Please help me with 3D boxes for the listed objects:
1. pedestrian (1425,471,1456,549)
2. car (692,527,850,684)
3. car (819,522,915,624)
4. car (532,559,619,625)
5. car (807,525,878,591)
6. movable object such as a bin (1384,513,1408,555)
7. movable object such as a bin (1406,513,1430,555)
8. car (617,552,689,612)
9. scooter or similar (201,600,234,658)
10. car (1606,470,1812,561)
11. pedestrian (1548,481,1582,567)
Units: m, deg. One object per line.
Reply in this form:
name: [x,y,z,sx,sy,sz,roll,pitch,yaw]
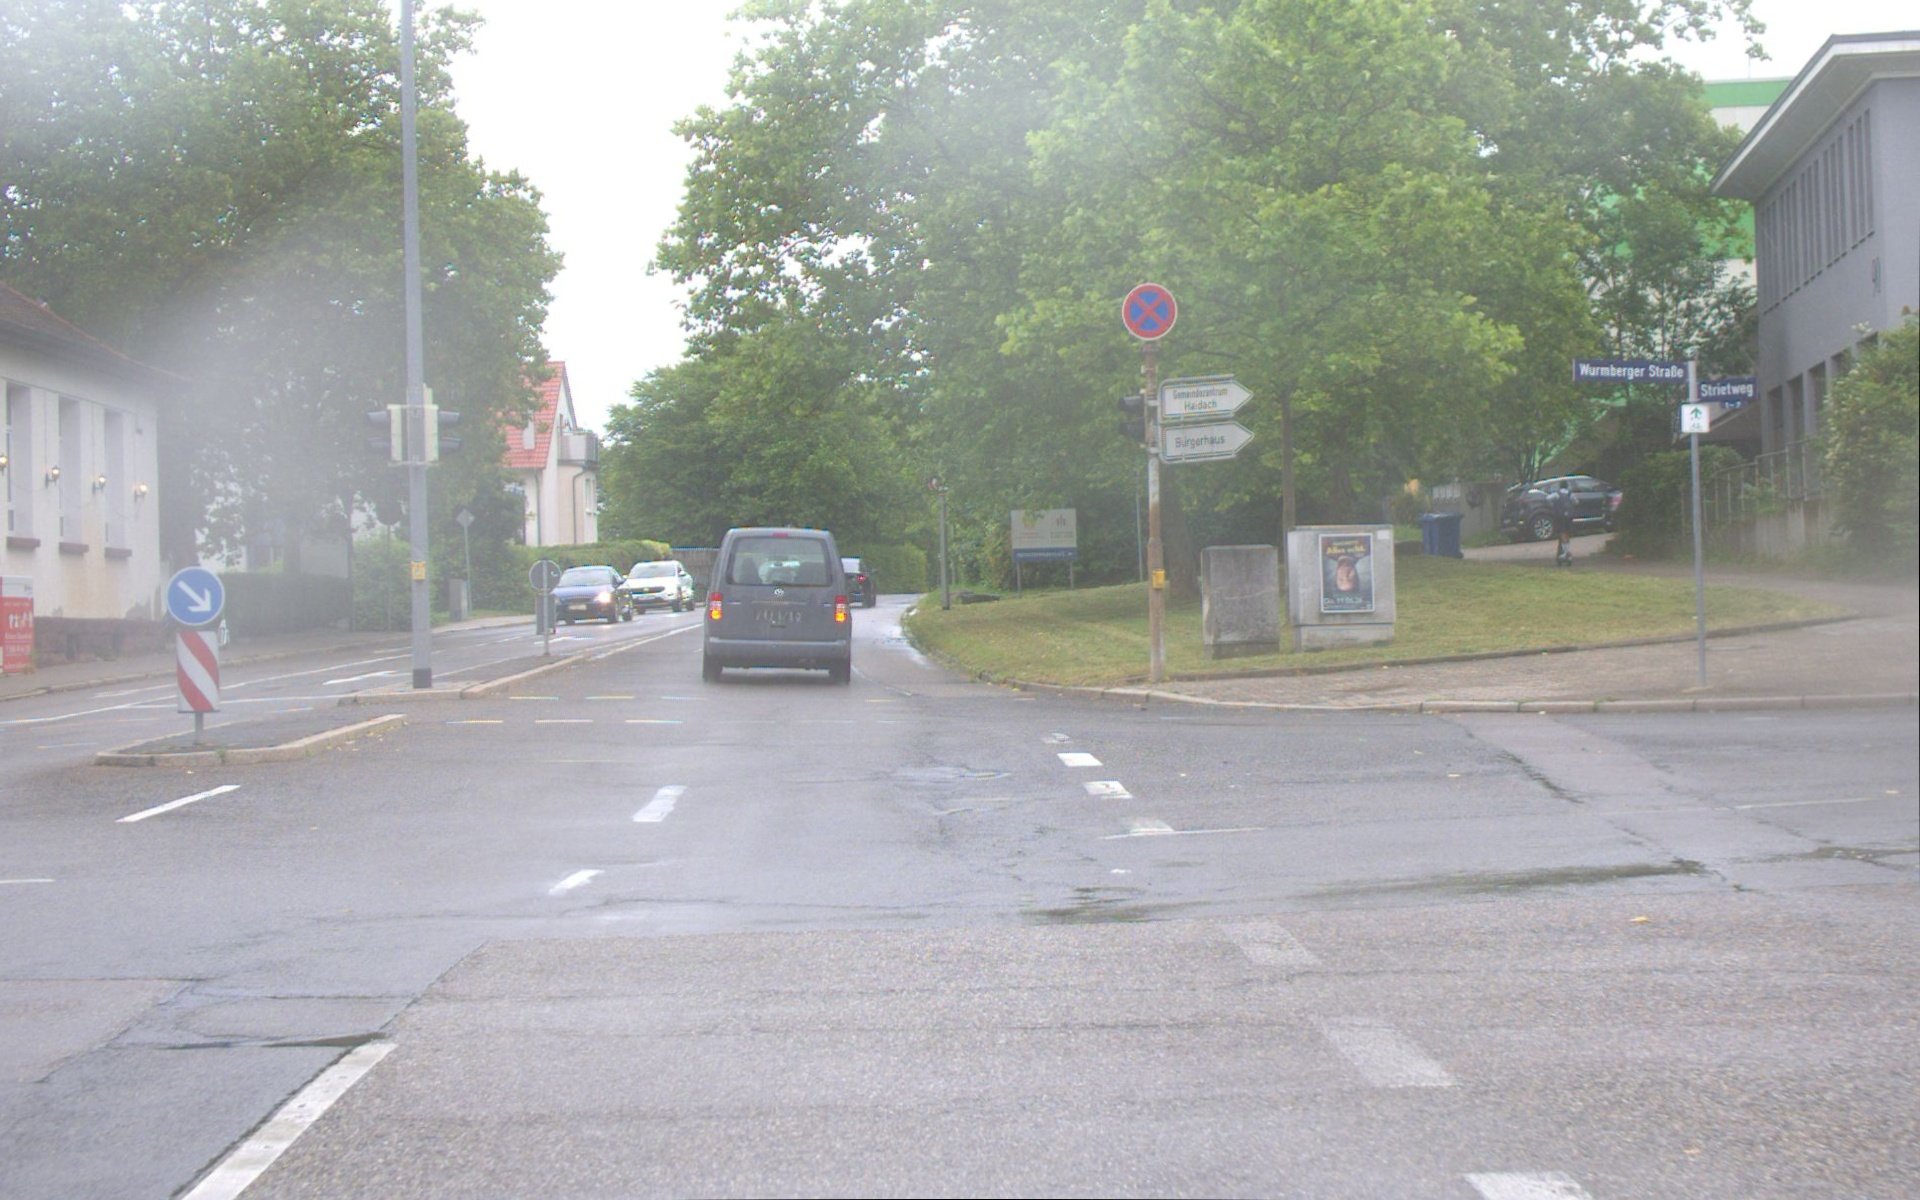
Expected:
pedestrian: [10.932,-2.048,78.149,0.557,1.757,0.728,0,0,-4]
car: [-2.252,0.056,41.496,1.812,1.802,3.757,0,0,-2]
car: [-1.720,-0.485,63.024,1.705,1.802,3.685,0,0,-2]
car: [-9.735,-0.225,87.330,1.793,1.522,4.209,-2,2,-1]
car: [-3.387,-1.208,99.443,1.993,1.875,4.000,0,0,-2]
movable object such as a bin: [9.390,-1.422,74.087,0.450,0.902,0.462,0,0,16]
movable object such as a bin: [9.859,-1.420,73.947,0.450,0.902,0.462,0,0,16]
car: [-9.232,-0.554,103.623,1.830,1.666,4.051,-2,2,-1]
scooter or similar: [-13.858,0.527,64.140,0.389,1.061,1.410,0,0,-3]
car: [15.235,-1.703,70.073,3.988,1.809,1.999,0,0,9]
pedestrian: [11.452,-1.435,65.068,0.601,1.611,0.525,0,0,8]
